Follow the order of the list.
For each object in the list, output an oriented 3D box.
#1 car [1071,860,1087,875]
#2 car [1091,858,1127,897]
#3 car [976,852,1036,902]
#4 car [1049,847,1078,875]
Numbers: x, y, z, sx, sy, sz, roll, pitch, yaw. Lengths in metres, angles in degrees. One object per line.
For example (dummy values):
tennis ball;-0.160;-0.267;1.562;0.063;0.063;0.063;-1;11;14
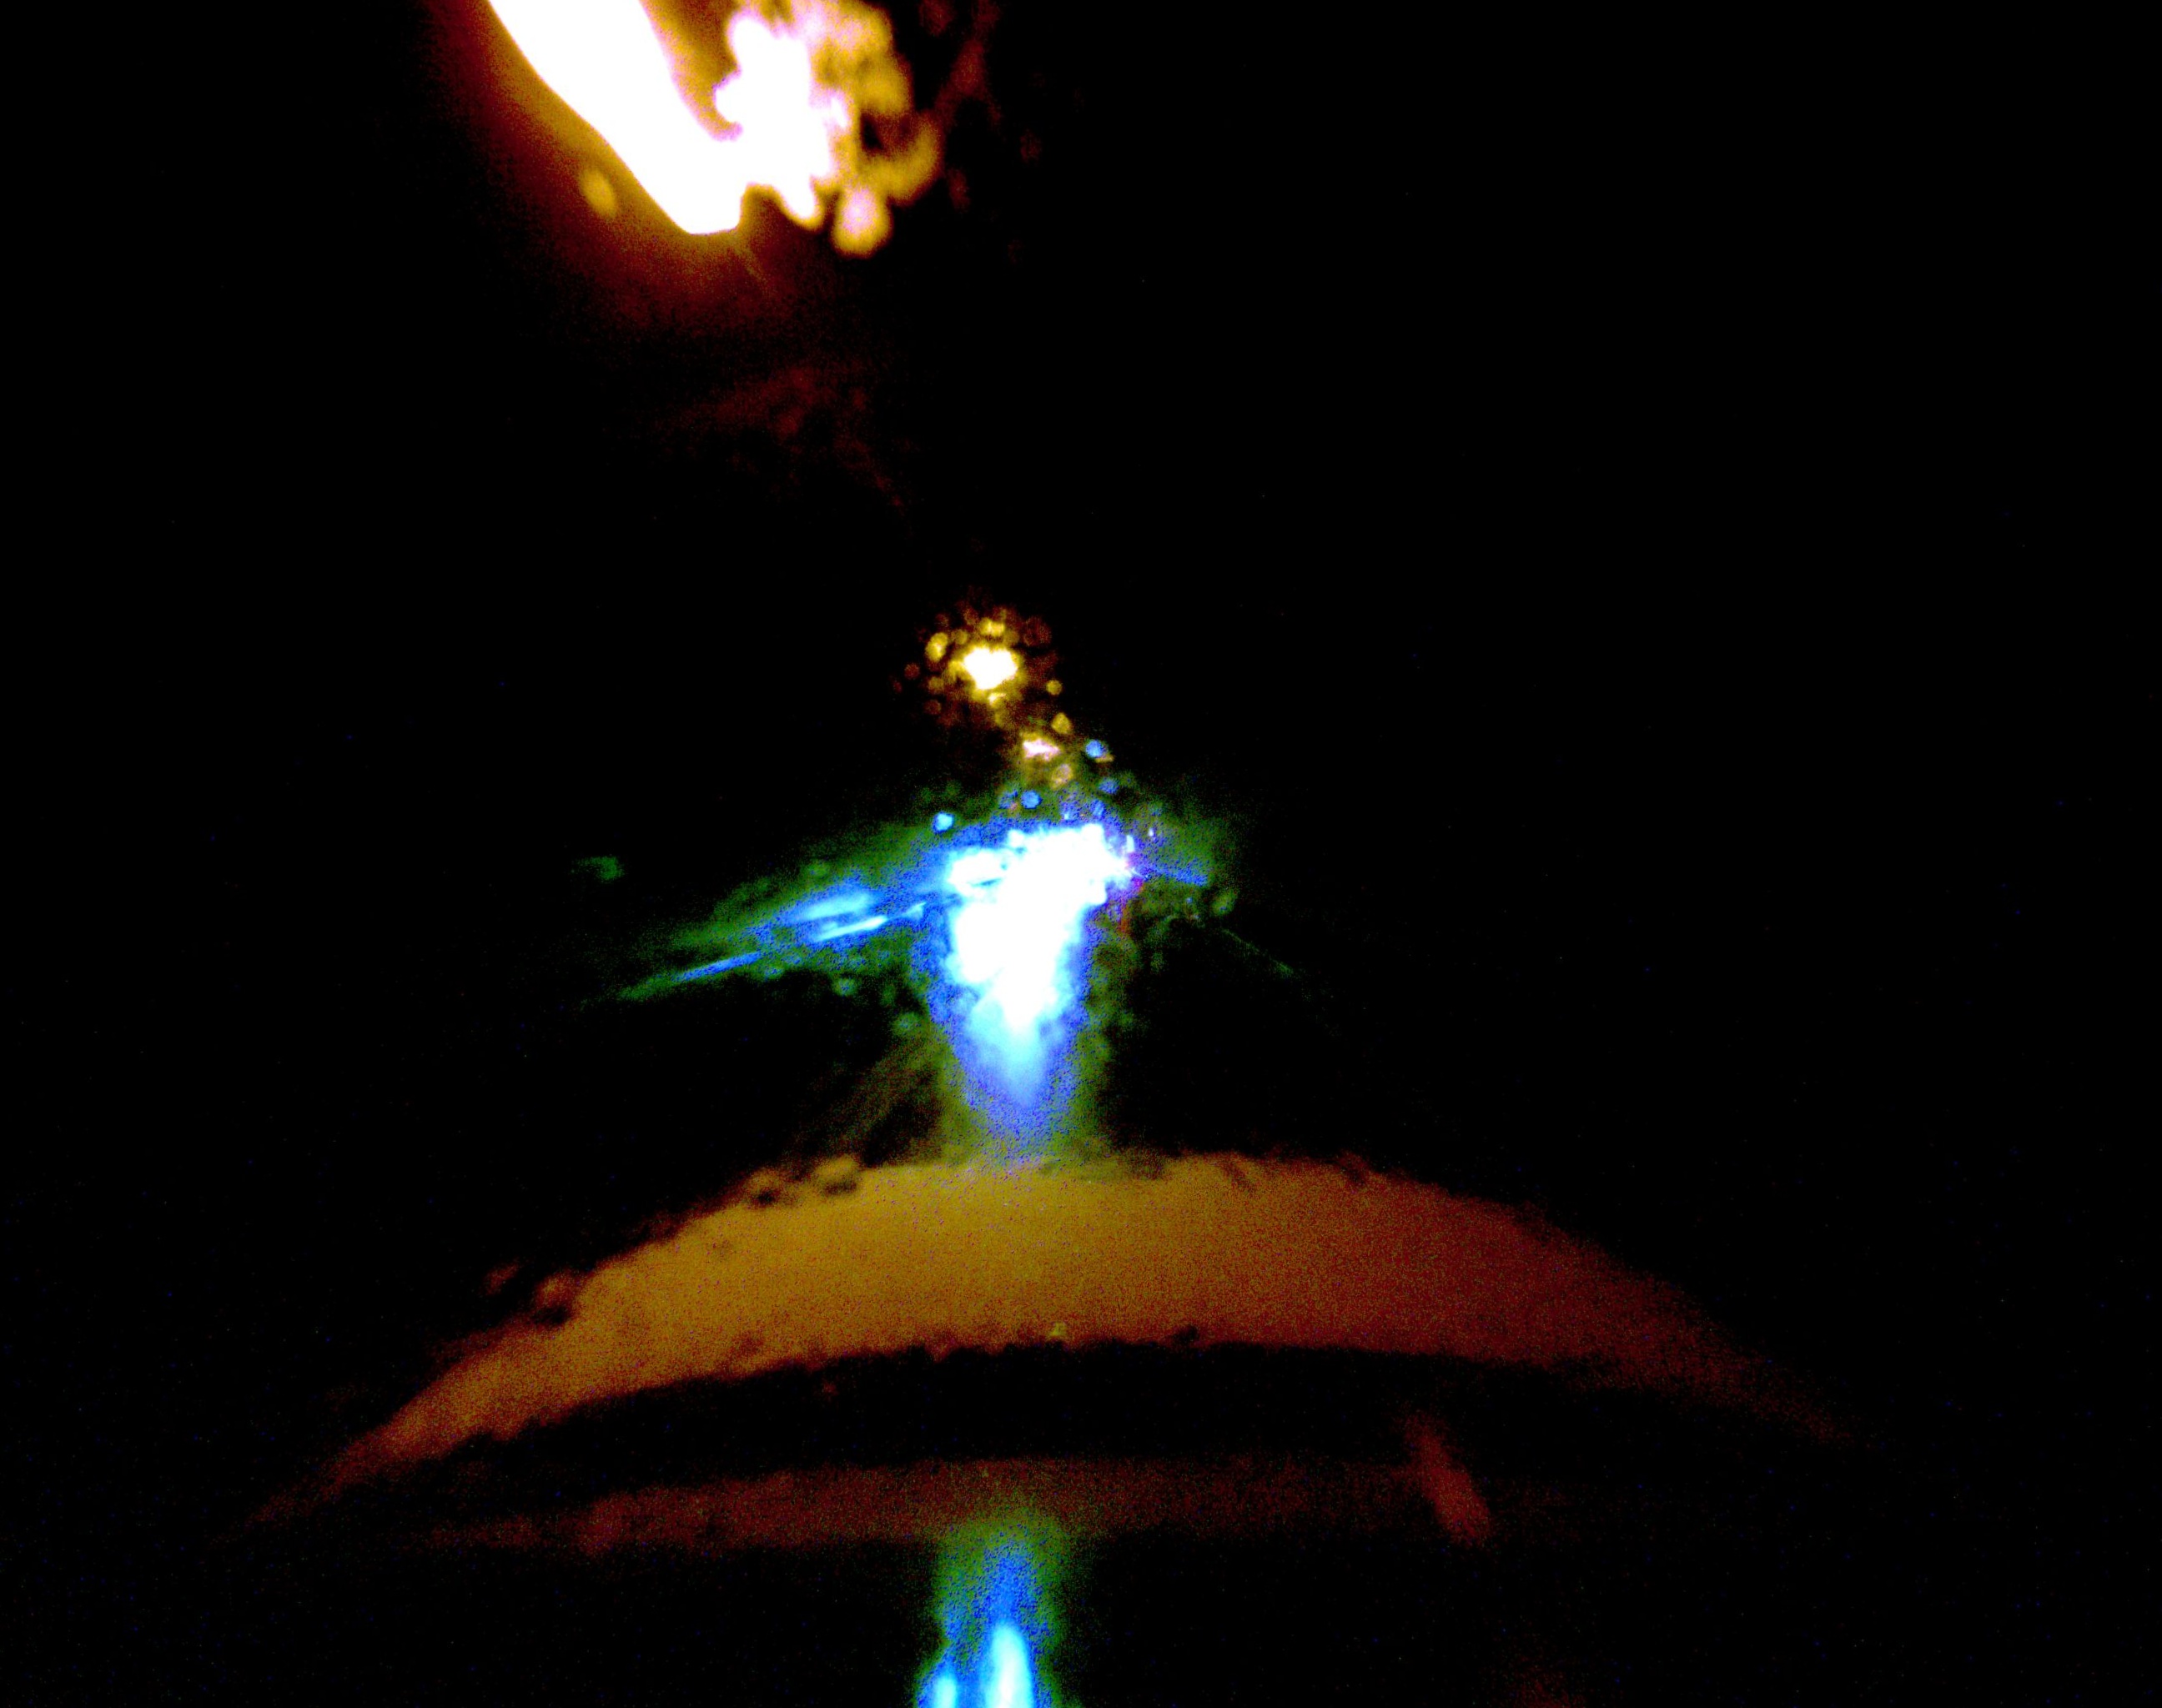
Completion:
car;-0.179;1.592;98.045;1.774;1.676;4.563;-1;0;2
car;1.337;1.084;38.963;1.629;1.758;4.147;-1;0;2
car;-2.638;0.781;29.423;1.629;1.628;4.147;-1;0;2
car;-1.201;0.502;58.907;1.774;1.928;5.140;-1;0;2
